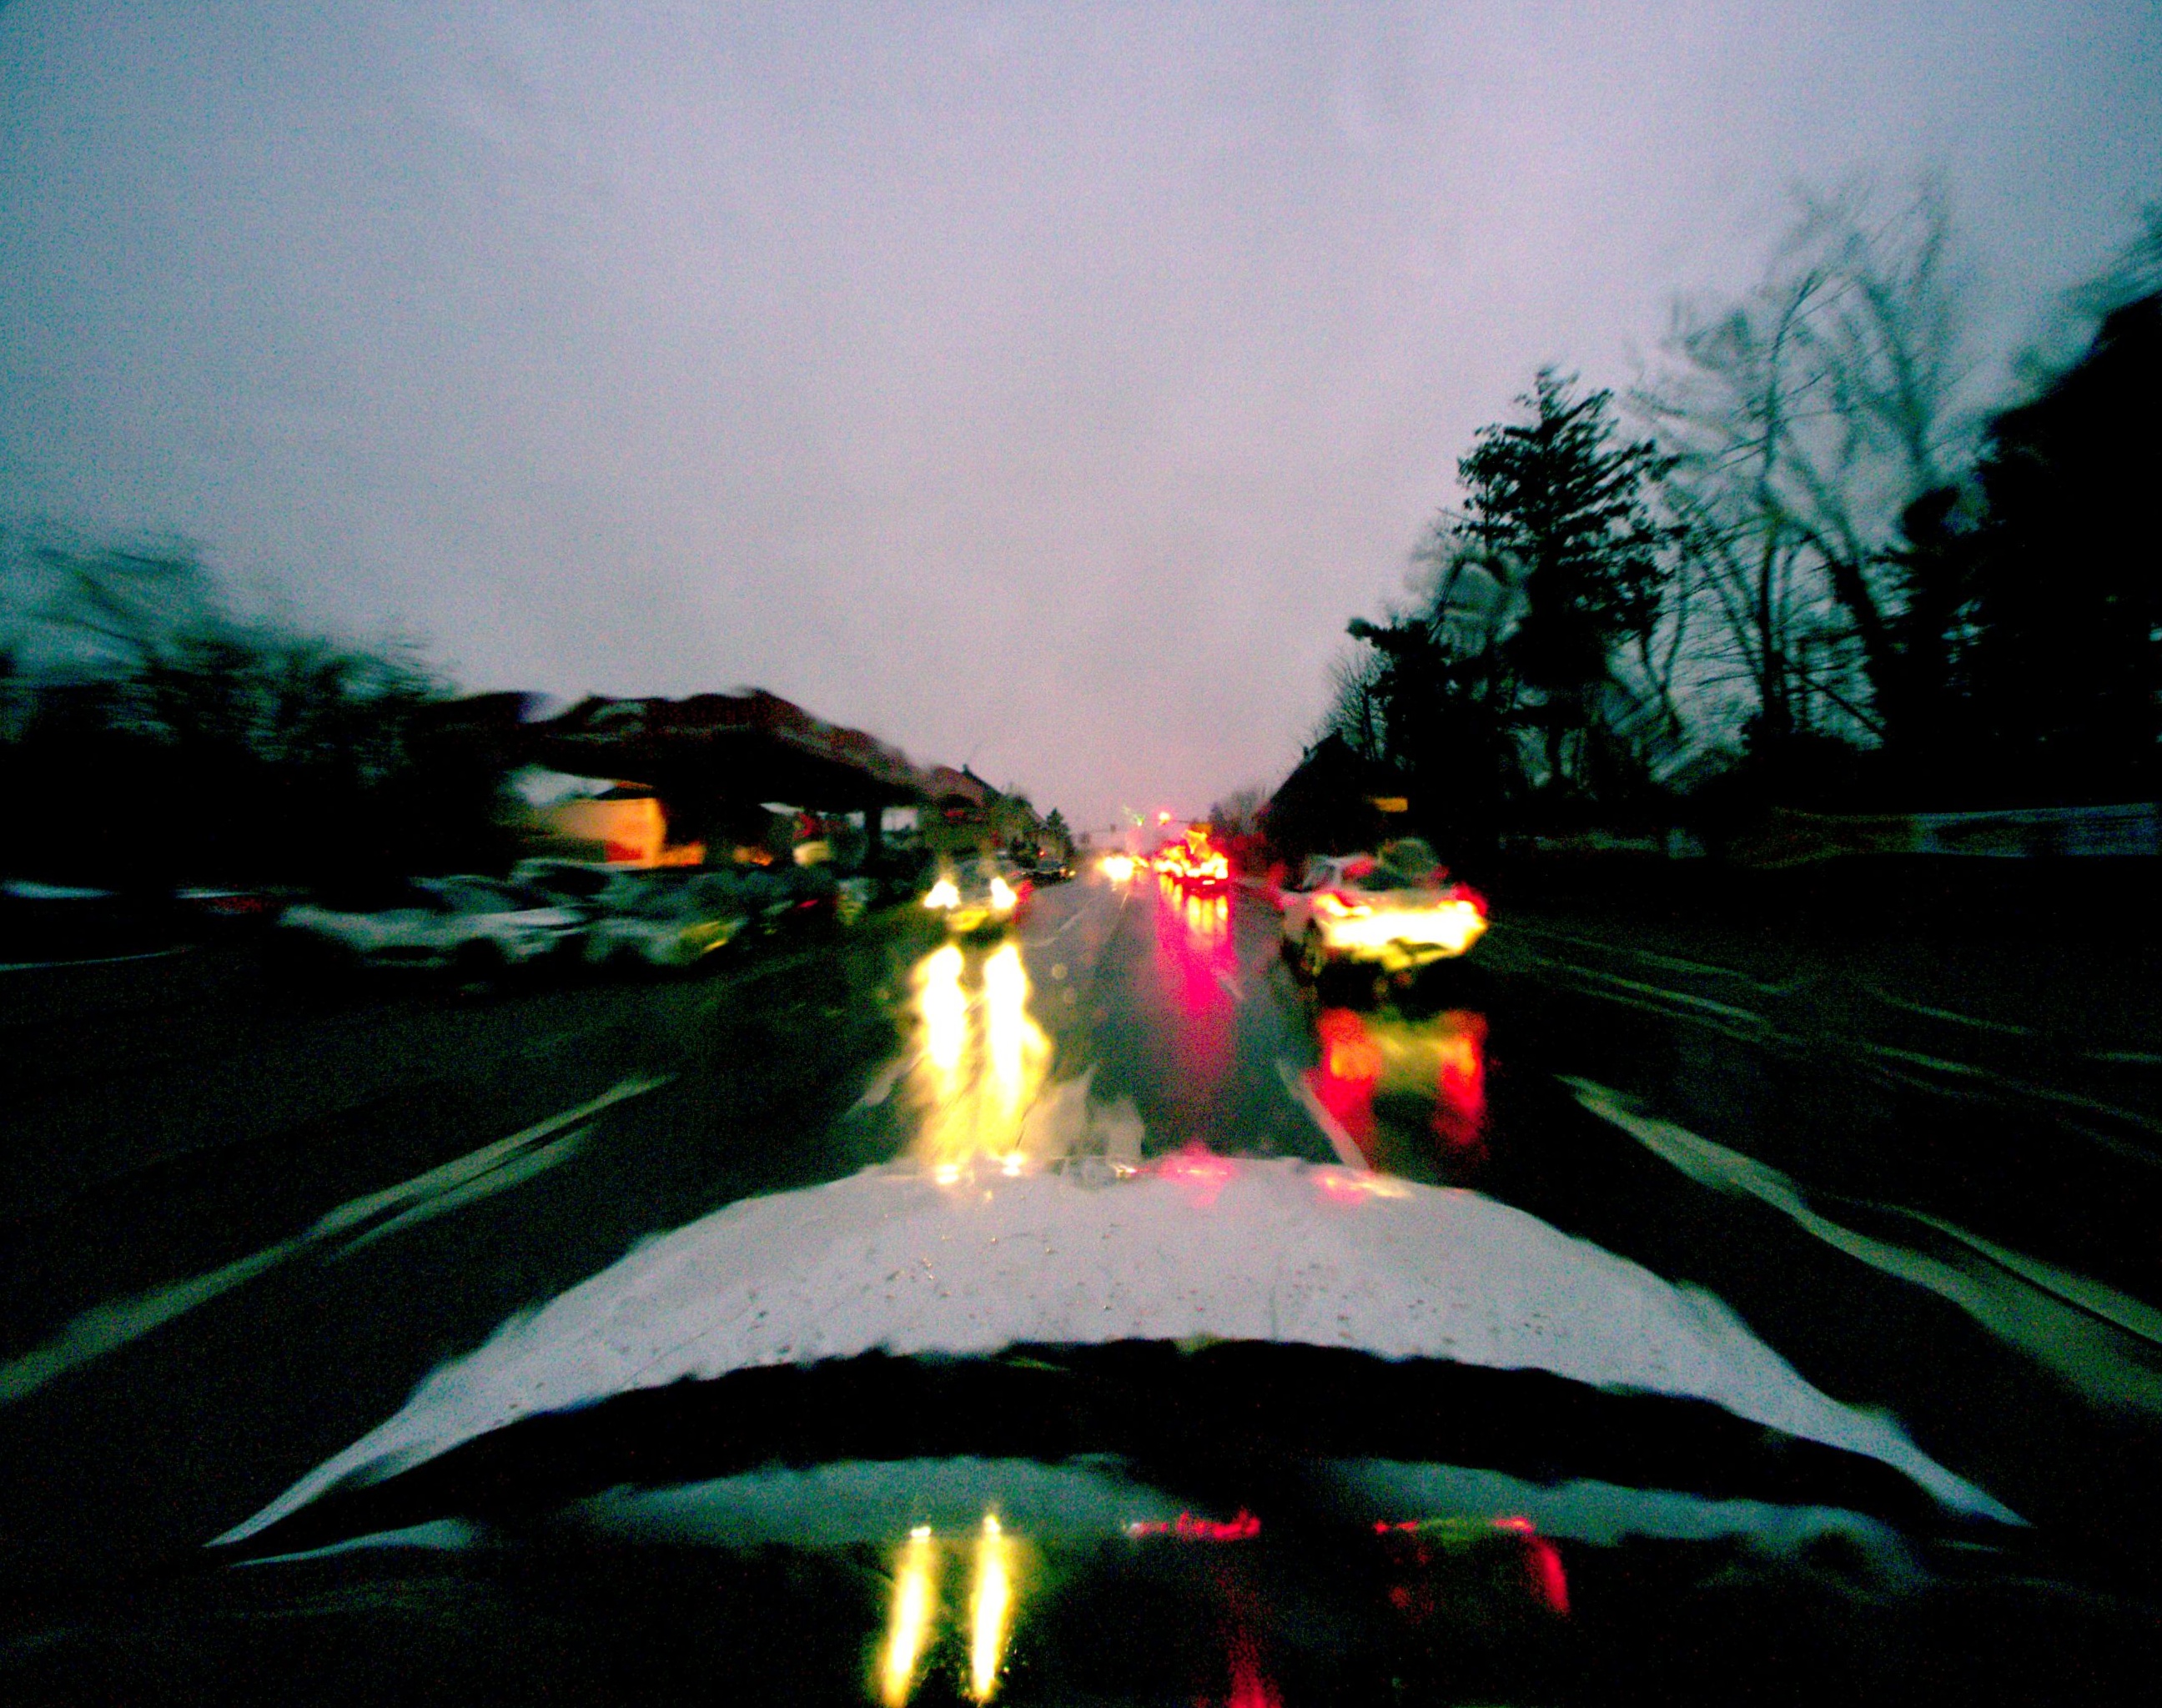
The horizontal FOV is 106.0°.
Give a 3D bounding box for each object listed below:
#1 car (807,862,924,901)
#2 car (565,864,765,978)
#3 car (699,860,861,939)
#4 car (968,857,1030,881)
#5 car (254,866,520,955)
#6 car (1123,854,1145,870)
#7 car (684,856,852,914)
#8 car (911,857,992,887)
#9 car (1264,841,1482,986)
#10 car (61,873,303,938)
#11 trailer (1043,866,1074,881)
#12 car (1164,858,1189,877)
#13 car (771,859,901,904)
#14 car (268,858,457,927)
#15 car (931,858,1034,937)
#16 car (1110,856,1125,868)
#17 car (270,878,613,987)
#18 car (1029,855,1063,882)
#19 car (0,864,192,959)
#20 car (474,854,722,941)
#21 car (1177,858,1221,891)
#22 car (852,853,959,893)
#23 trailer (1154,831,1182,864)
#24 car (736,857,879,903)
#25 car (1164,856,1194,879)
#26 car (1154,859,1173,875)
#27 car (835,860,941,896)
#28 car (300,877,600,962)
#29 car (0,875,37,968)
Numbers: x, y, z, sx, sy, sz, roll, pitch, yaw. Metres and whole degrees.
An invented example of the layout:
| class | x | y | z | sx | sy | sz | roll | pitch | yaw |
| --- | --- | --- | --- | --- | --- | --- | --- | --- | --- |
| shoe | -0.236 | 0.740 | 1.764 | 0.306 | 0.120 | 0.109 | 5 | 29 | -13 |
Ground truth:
| class | x | y | z | sx | sy | sz | roll | pitch | yaw |
| --- | --- | --- | --- | --- | --- | --- | --- | --- | --- |
| car | -8.133 | 1.009 | 30.943 | 3.842 | 1.346 | 1.841 | -1 | 0 | 3 |
| car | -6.599 | 0.994 | 13.276 | 1.511 | 1.543 | 3.018 | -3 | 0 | 4 |
| car | -6.164 | 0.871 | 17.133 | 1.674 | 1.421 | 3.746 | -1 | 0 | 6 |
| car | -6.134 | 1.121 | 61.282 | 4.257 | 1.627 | 2.002 | 1 | 0 | 4 |
| car | -13.655 | 1.022 | 16.381 | 1.825 | 1.489 | 3.877 | 0 | 0 | 5 |
| car | 5.610 | 0.876 | 86.129 | 2.040 | 1.573 | 4.704 | -2 | -1 | 1 |
| car | -8.764 | 0.833 | 23.029 | 4.013 | 1.554 | 1.825 | 0 | 0 | 3 |
| car | -7.534 | 1.028 | 47.707 | 4.257 | 1.662 | 2.002 | 1 | 0 | 4 |
| car | 3.746 | 0.668 | 11.303 | 1.700 | 1.576 | 4.469 | -1 | 0 | 4 |
| car | -19.009 | 1.064 | 17.307 | 3.552 | 1.258 | 1.626 | -1 | 0 | 5 |
| trailer | -1.866 | 1.592 | 68.680 | 1.984 | 1.039 | 6.110 | -3 | 0 | 4 |
| car | 7.965 | 1.098 | 68.324 | 1.828 | 1.568 | 4.508 | 0 | 0 | 4 |
| car | -8.392 | 0.928 | 28.141 | 3.842 | 1.406 | 1.841 | -1 | 0 | 3 |
| car | -19.023 | 0.959 | 21.788 | 1.610 | 1.572 | 3.588 | -1 | 1 | 6 |
| car | -2.153 | 0.911 | 18.815 | 1.596 | 1.534 | 4.003 | -3 | 0 | 3 |
| car | 5.777 | 1.217 | 129.483 | 1.983 | 1.746 | 4.008 | -3 | -1 | 7 |
| car | -9.449 | 1.122 | 12.264 | 3.758 | 1.459 | 1.777 | 0 | 0 | 1 |
| car | -2.560 | 1.069 | 61.150 | 1.962 | 1.830 | 4.517 | -2 | 0 | 4 |
| car | -19.163 | 1.007 | 14.811 | 3.969 | 1.576 | 1.961 | -1 | 0 | 4 |
| car | -9.984 | 0.869 | 17.043 | 4.027 | 1.650 | 1.945 | -1 | 0 | 5 |
| car | 5.357 | 0.898 | 37.401 | 1.633 | 1.366 | 4.774 | -1 | -1 | 4 |
| car | -7.814 | 0.826 | 36.529 | 4.262 | 1.656 | 1.982 | -1 | 0 | 3 |
| trailer | 9.228 | -0.603 | 87.451 | 2.477 | 3.241 | 10.878 | -1 | -1 | 3 |
| car | -8.629 | 0.806 | 25.924 | 3.842 | 1.410 | 1.945 | 0 | 0 | 3 |
| car | 6.015 | 0.836 | 50.483 | 1.646 | 1.336 | 4.277 | -1 | 0 | 4 |
| car | 7.685 | 1.174 | 76.290 | 1.655 | 1.439 | 4.386 | 0 | -1 | 4 |
| car | -7.924 | 0.966 | 33.617 | 3.842 | 1.346 | 1.841 | -1 | 0 | 3 |
| car | -10.914 | 1.093 | 14.285 | 3.842 | 1.346 | 1.841 | 0 | 0 | 3 |
| car | -19.295 | 1.111 | 12.576 | 3.969 | 1.465 | 1.961 | -1 | 0 | 4 |
